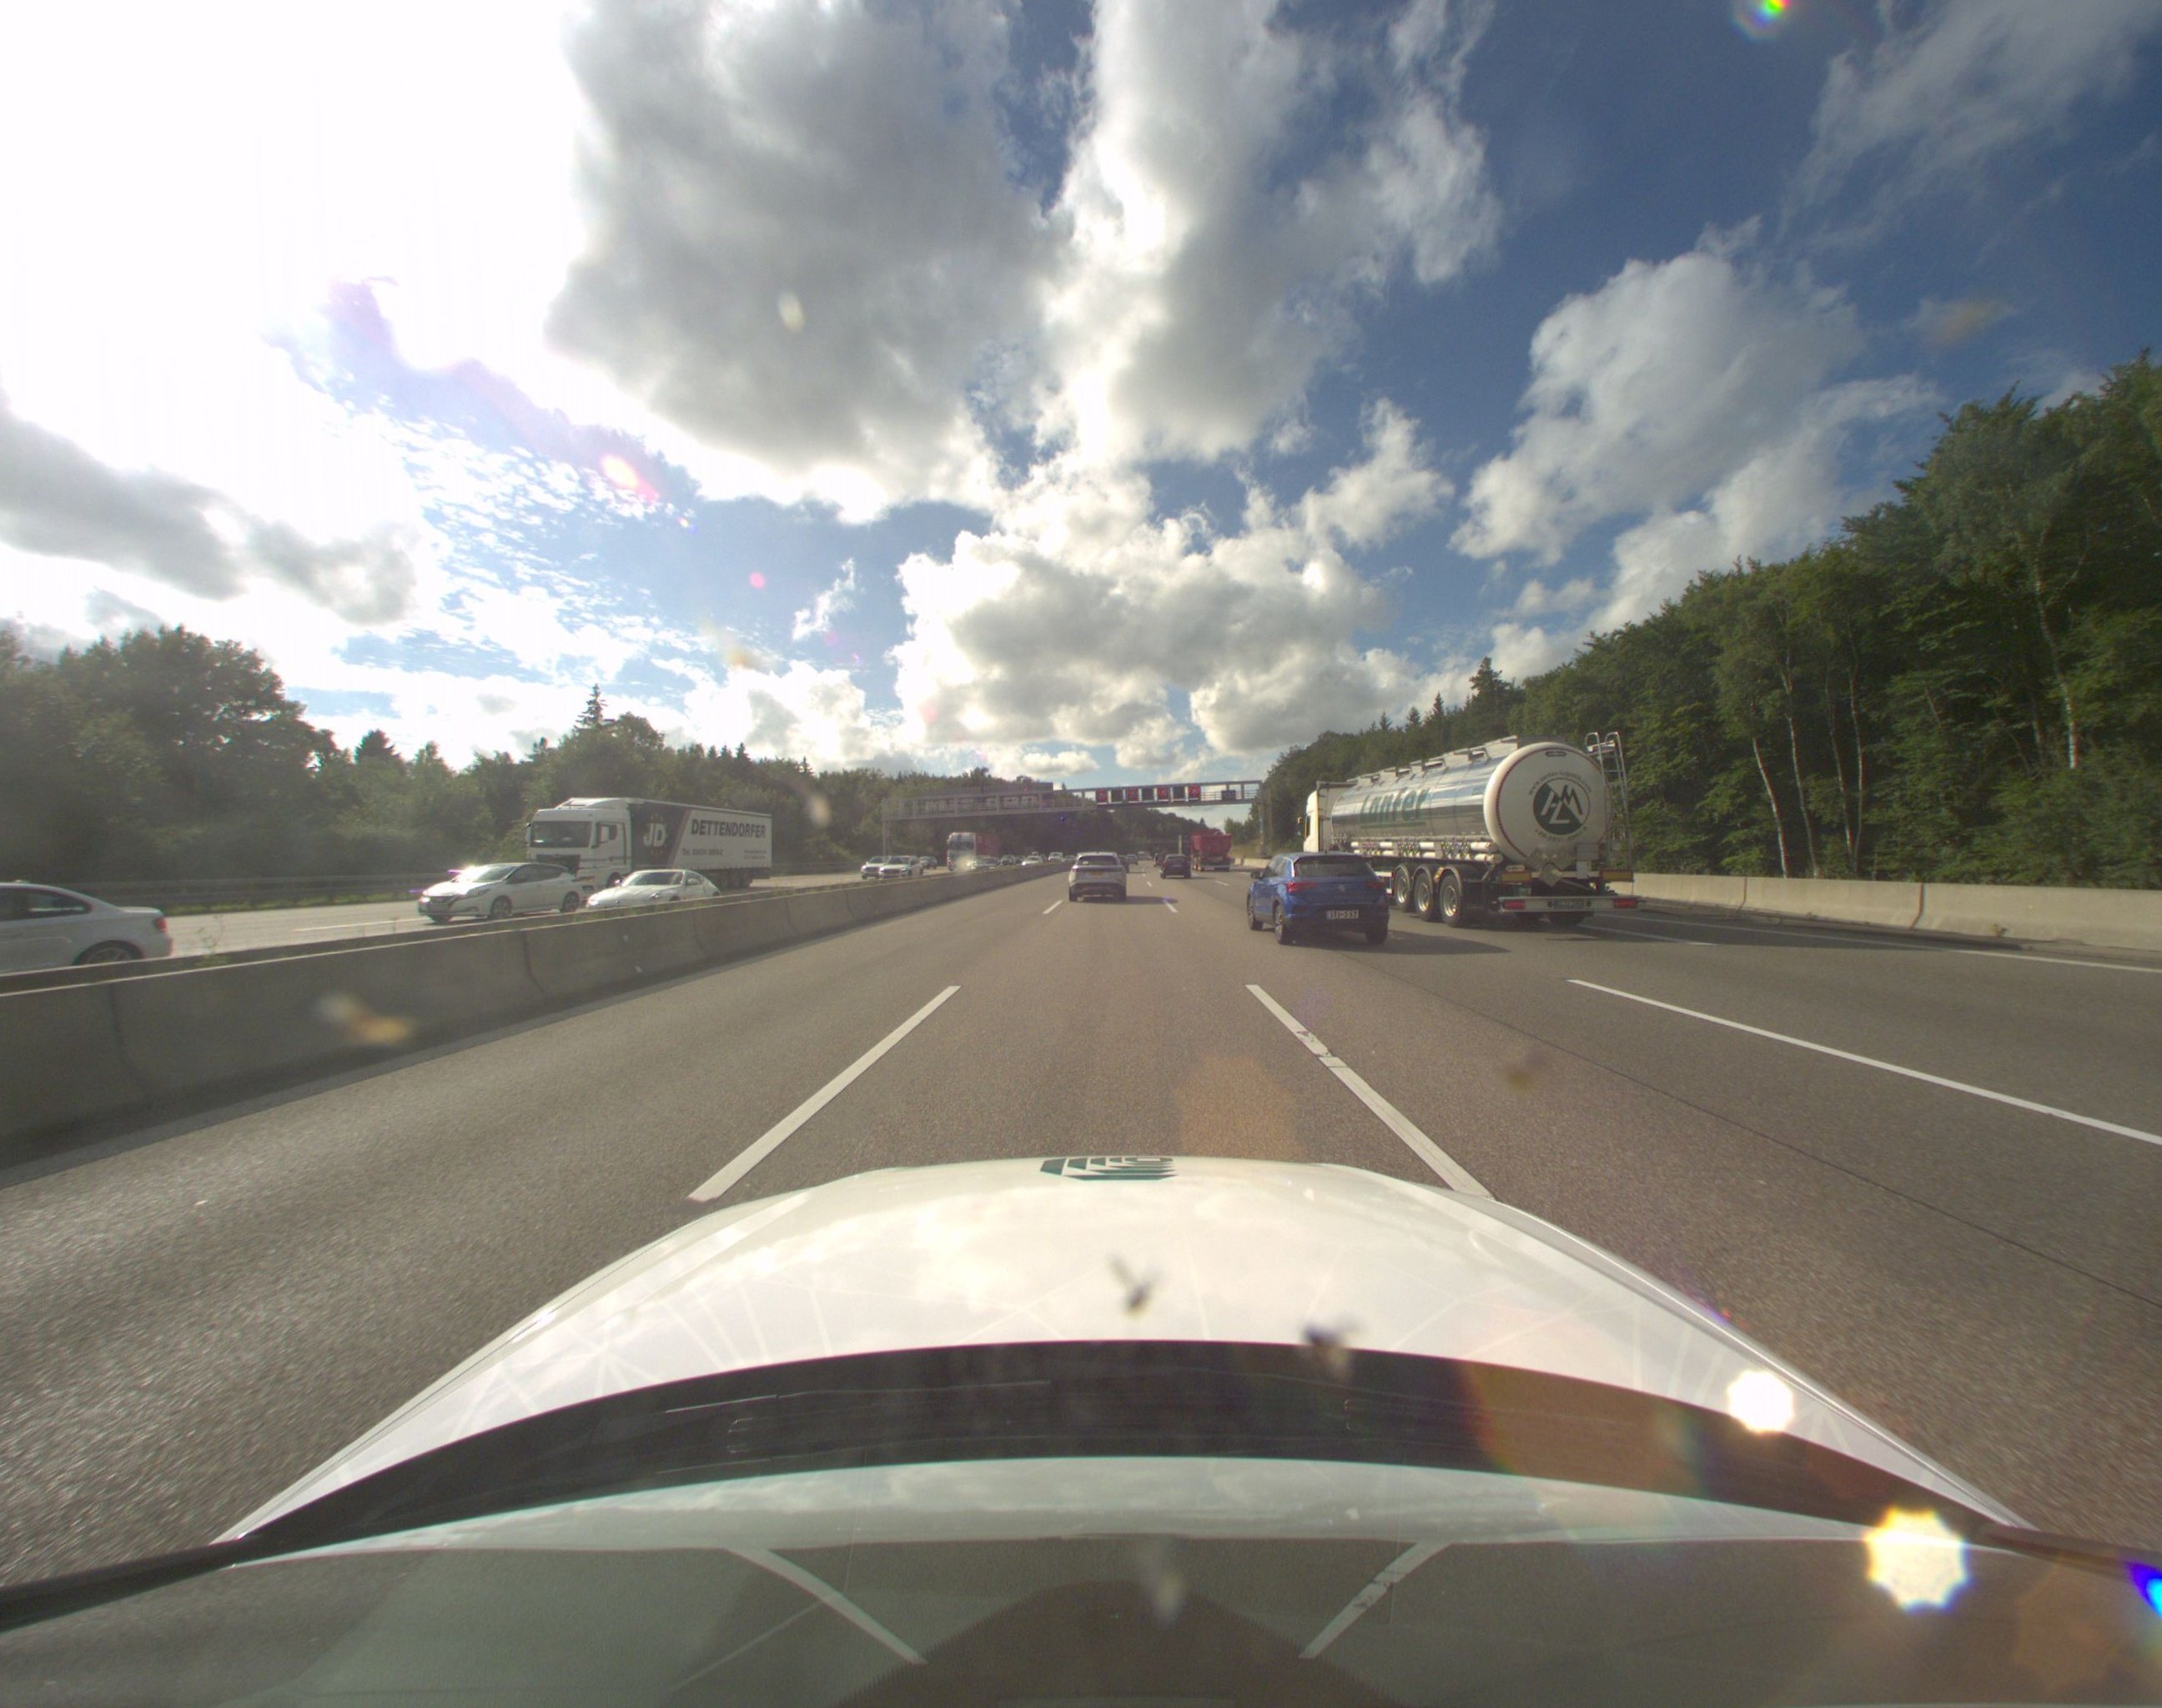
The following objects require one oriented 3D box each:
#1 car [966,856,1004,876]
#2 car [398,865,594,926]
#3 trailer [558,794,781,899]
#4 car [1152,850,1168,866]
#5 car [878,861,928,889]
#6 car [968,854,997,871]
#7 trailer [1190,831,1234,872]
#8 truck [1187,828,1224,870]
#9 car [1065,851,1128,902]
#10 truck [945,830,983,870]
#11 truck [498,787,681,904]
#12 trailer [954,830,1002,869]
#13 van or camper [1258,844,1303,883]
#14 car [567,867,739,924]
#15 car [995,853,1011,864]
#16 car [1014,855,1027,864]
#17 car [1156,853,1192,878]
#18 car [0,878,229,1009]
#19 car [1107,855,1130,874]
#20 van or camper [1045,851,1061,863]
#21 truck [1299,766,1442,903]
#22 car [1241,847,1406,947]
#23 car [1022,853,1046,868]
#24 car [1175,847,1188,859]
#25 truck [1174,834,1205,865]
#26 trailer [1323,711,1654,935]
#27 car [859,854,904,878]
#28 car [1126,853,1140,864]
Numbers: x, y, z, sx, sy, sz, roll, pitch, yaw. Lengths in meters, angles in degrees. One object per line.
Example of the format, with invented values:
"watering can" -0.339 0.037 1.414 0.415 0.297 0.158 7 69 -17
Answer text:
"car" -6.841 0.845 58.638 1.985 1.362 4.623 0 0 3
"car" -16.038 1.069 22.709 1.804 1.453 4.804 -1 0 3
"trailer" -18.934 -0.296 39.401 3.306 4.106 14.157 -1 0 1
"car" 9.514 0.428 97.757 1.884 1.857 4.106 -1 0 5
"car" -11.091 1.283 51.107 1.700 1.594 4.949 -1 0 4
"car" -9.167 0.797 76.160 1.849 1.525 4.999 -1 0 3
"trailer" 11.150 -0.245 70.083 2.699 3.231 9.740 -1 0 3
"truck" 11.378 -0.468 74.879 2.699 3.718 5.822 -1 0 3
"car" 0.566 0.723 28.711 1.999 1.616 5.303 -1 0 2
"truck" -12.283 -0.426 86.004 2.726 4.106 5.772 -1 0 5
"truck" -19.036 -0.307 32.107 3.306 4.106 6.226 -1 0 1
"trailer" -11.635 -0.455 93.493 2.726 4.106 13.434 -1 0 5
"van or camper" 12.551 0.575 51.536 1.815 2.307 4.942 -1 0 3
"car" -10.342 0.951 20.119 1.805 1.161 4.515 -1 0 0
"car" -10.777 0.633 113.048 1.630 1.416 4.004 -1 0 4
"car" -11.108 0.985 149.343 1.693 1.440 4.713 -1 0 5
"car" 5.833 0.702 51.399 1.816 1.457 4.000 -1 0 1
"car" -12.993 1.054 9.137 1.674 1.397 4.720 -1 0 4
"car" 3.167 0.835 68.113 1.815 1.546 4.003 -1 0 3
"van or camper" -4.476 0.494 131.006 1.853 1.850 5.163 -1 0 6
"truck" 9.065 -0.559 26.242 2.638 3.823 6.086 -2 0 3
"car" 4.208 0.679 14.918 1.767 1.530 4.458 -1 0 1
"car" -4.832 0.674 84.310 1.761 1.442 4.859 -1 0 6
"car" 14.996 -0.148 122.036 1.884 1.857 4.107 0 0 6
"truck" 14.474 -0.520 109.473 3.106 3.935 10.416 -1 0 2
"trailer" 8.741 -0.537 19.904 2.638 3.767 11.869 -2 0 3
"car" -14.449 0.815 59.188 1.786 1.617 5.049 -1 0 3
"car" 7.339 0.672 114.382 1.814 1.457 4.005 -1 -1 4
